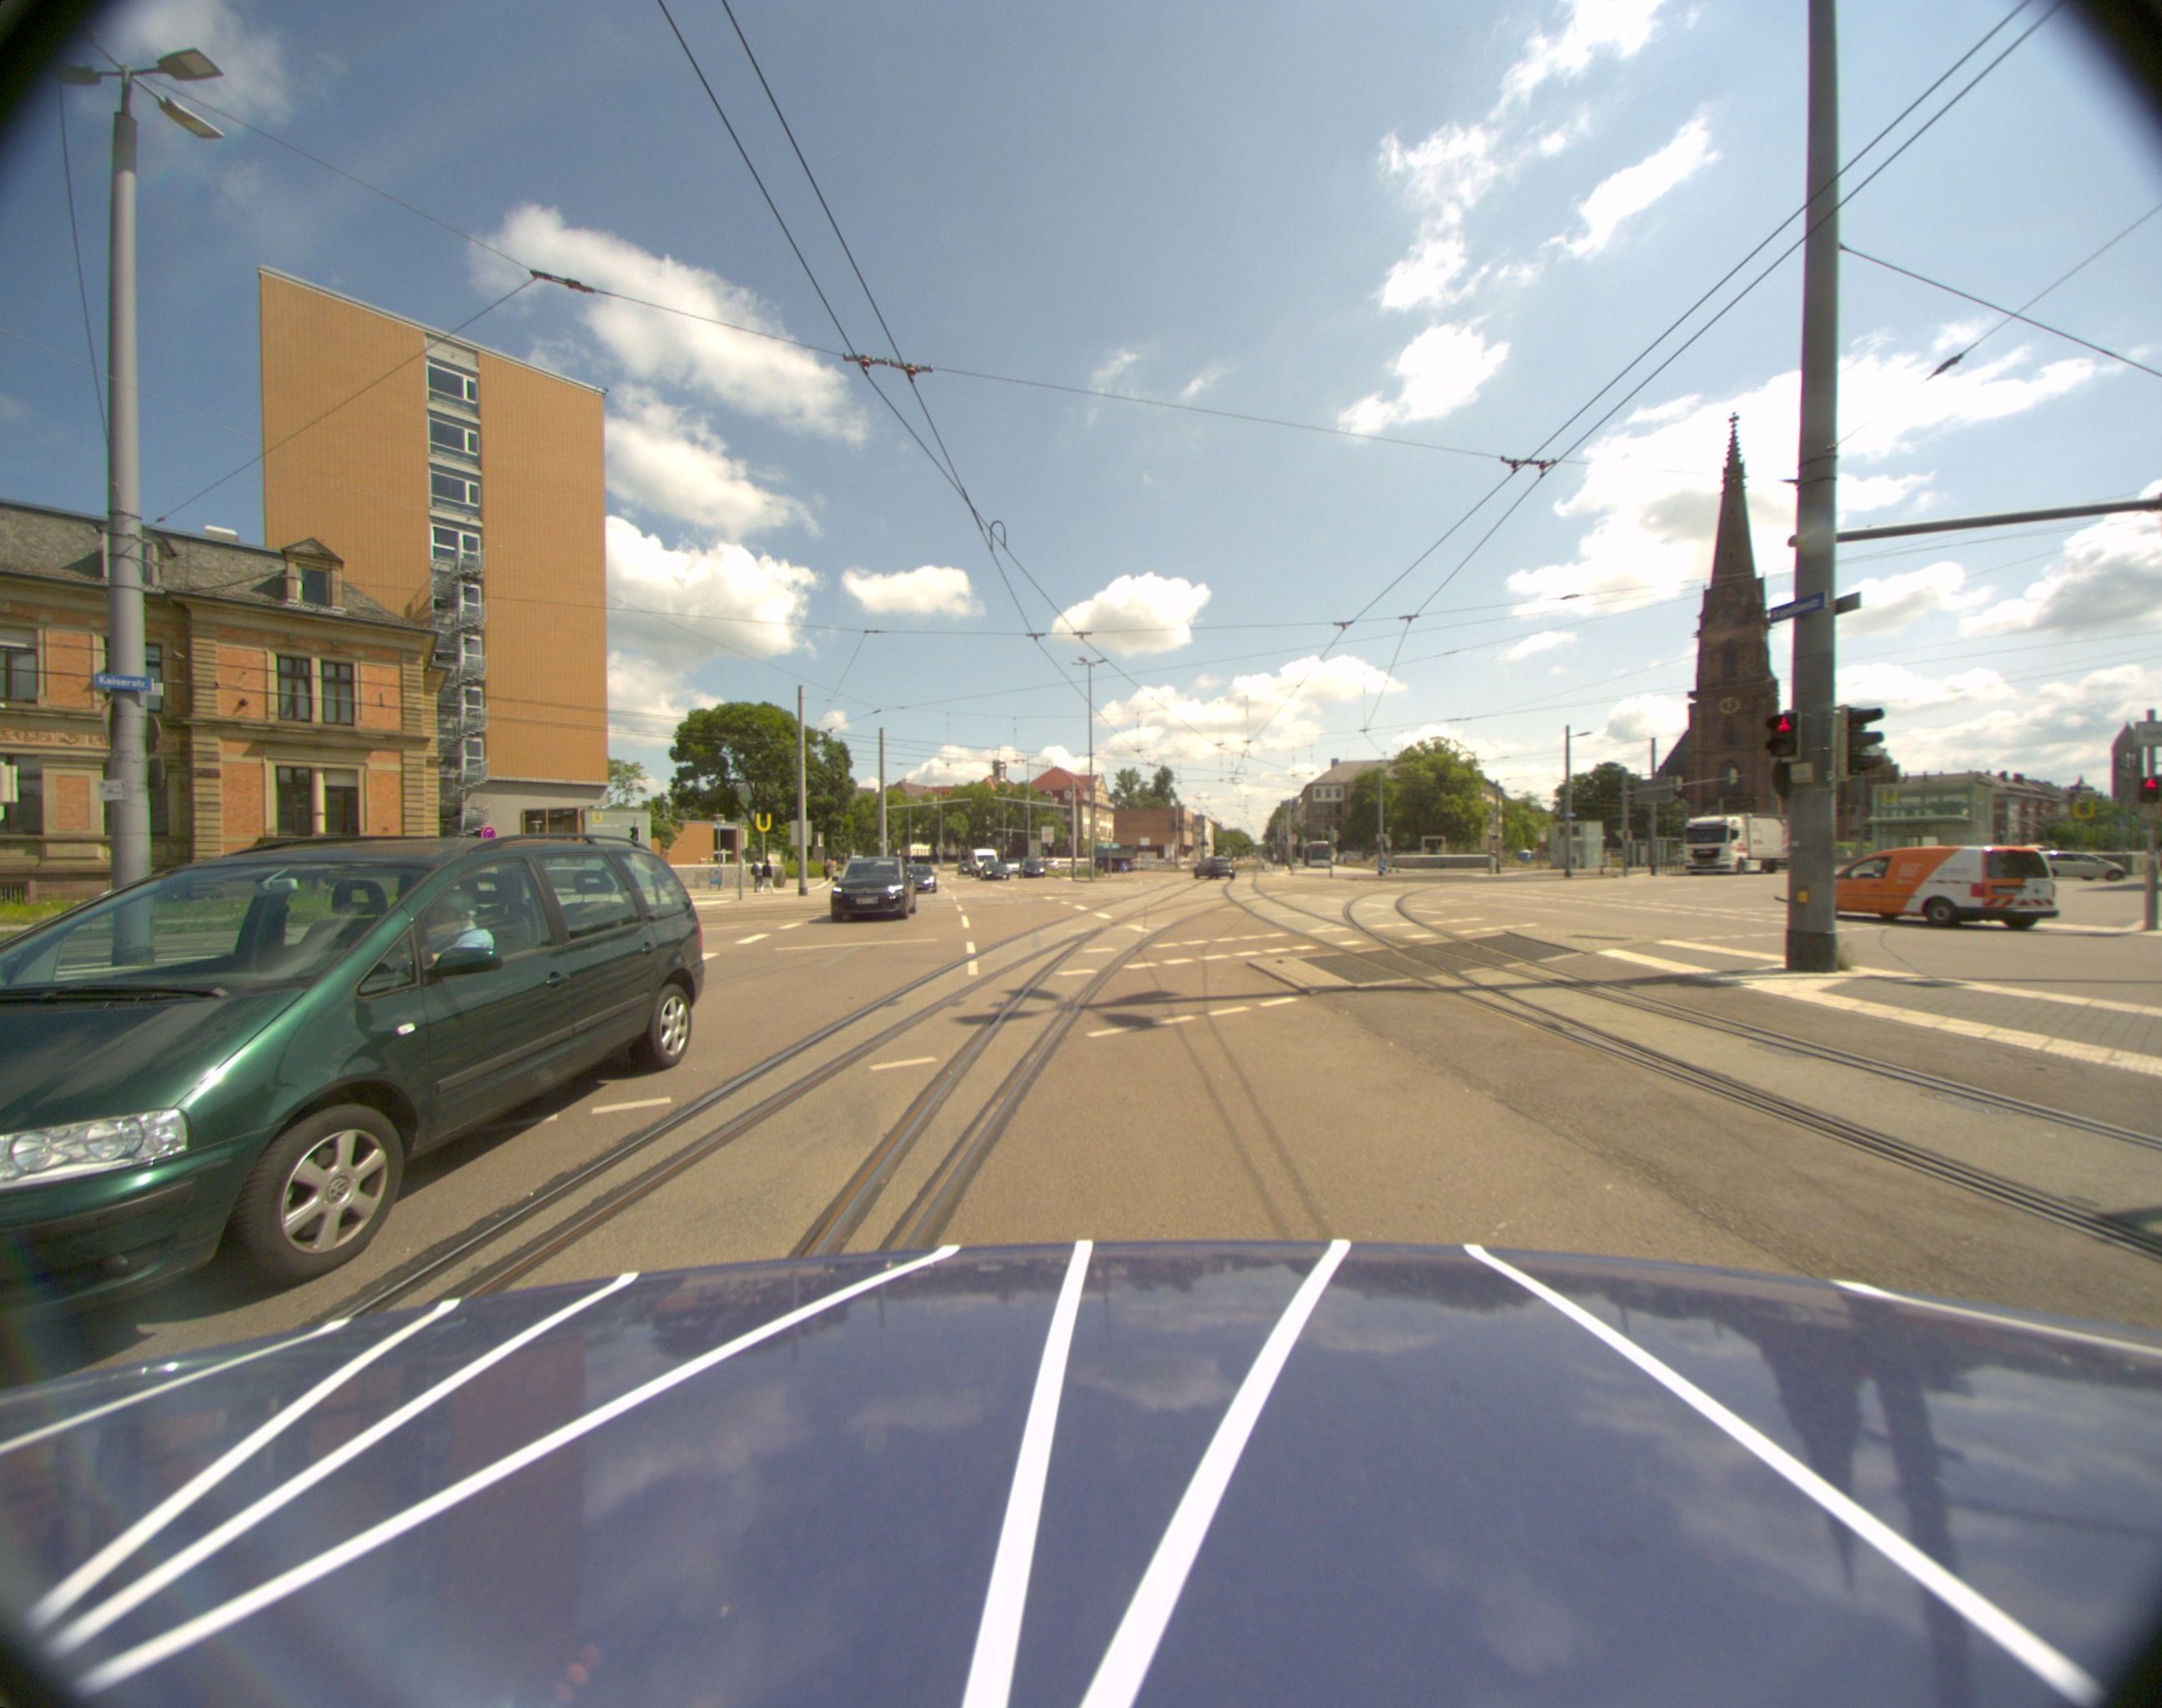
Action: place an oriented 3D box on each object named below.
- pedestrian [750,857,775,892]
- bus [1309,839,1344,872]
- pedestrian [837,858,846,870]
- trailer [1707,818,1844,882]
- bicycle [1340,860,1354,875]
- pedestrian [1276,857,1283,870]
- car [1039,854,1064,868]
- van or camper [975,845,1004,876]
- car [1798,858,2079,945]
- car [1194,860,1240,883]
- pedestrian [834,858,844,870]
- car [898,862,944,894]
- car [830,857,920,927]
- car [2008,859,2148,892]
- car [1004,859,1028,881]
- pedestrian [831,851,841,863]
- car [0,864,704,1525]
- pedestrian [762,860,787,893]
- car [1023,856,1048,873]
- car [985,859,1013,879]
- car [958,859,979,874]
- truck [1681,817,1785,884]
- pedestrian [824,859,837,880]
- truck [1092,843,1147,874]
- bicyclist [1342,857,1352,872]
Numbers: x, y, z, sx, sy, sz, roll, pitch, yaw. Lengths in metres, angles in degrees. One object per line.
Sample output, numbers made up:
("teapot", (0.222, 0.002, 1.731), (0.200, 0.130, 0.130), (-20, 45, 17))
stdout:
("pedestrian", (-16.635, 1.073, 39.725), (1.029, 1.802, 0.726), (-1, 1, -39))
("bus", (26.632, 0.178, 82.699), (2.947, 3.427, 7.956), (0, -1, 13))
("pedestrian", (-33.248, 1.410, 105.468), (1.153, 1.679, 1.308), (0, -1, -22))
("trailer", (48.556, -0.264, 52.905), (13.440, 4.052, 2.942), (0, 0, -29))
("bicycle", (36.429, 1.877, 104.032), (1.246, 2.001, 3.488), (0, 0, 11))
("pedestrian", (27.723, 1.350, 106.116), (0.910, 1.812, 1.022), (1, 0, 10))
("car", (-3.327, 0.799, 84.578), (1.855, 1.406, 4.334), (1, -1, -16))
("van or camper", (-8.397, 0.556, 69.005), (2.233, 2.719, 5.516), (0, 0, -11))
("car", (19.597, 0.988, 17.715), (1.770, 1.755, 4.241), (0, 0, 0))
("car", (9.516, 1.219, 53.491), (1.816, 1.551, 4.104), (1, -1, -11))
("pedestrian", (-32.688, 1.371, 102.579), (1.153, 1.679, 1.308), (0, -1, -22))
("car", (-8.012, 1.175, 38.328), (1.874, 1.476, 4.424), (0, -1, -7))
("car", (-5.276, 0.901, 19.951), (1.874, 1.607, 4.423), (1, 0, -10))
("car", (51.496, 1.085, 39.347), (4.163, 1.632, 1.632), (0, 0, 20))
("car", (-6.098, 1.490, 71.313), (1.816, 2.001, 3.996), (0, -1, -11))
("pedestrian", (-34.696, 0.422, 107.612), (1.153, 1.679, 1.308), (0, -1, -22))
("car", (-3.870, 0.952, 3.993), (1.819, 1.707, 4.084), (-2, 0, -2))
("pedestrian", (-15.897, 1.151, 39.399), (1.029, 1.710, 0.726), (-1, 1, -39))
("car", (-3.744, 0.893, 62.372), (1.673, 1.368, 3.913), (0, -1, -9))
("car", (-6.459, 1.129, 59.543), (1.902, 1.455, 4.257), (0, 0, -11))
("car", (-11.681, 1.301, 78.625), (1.783, 1.564, 3.957), (0, -1, -14))
("truck", (42.542, -0.221, 49.552), (6.889, 4.094, 2.957), (0, 0, -29))
("pedestrian", (-19.096, 1.189, 57.881), (0.830, 1.576, 0.767), (0, -1, -10))
("truck", (3.801, 0.465, 77.935), (3.358, 2.980, 8.724), (0, 0, -13))
("bicyclist", (36.440, 1.458, 104.152), (1.124, 2.002, 1.321), (1, 0, 11))
